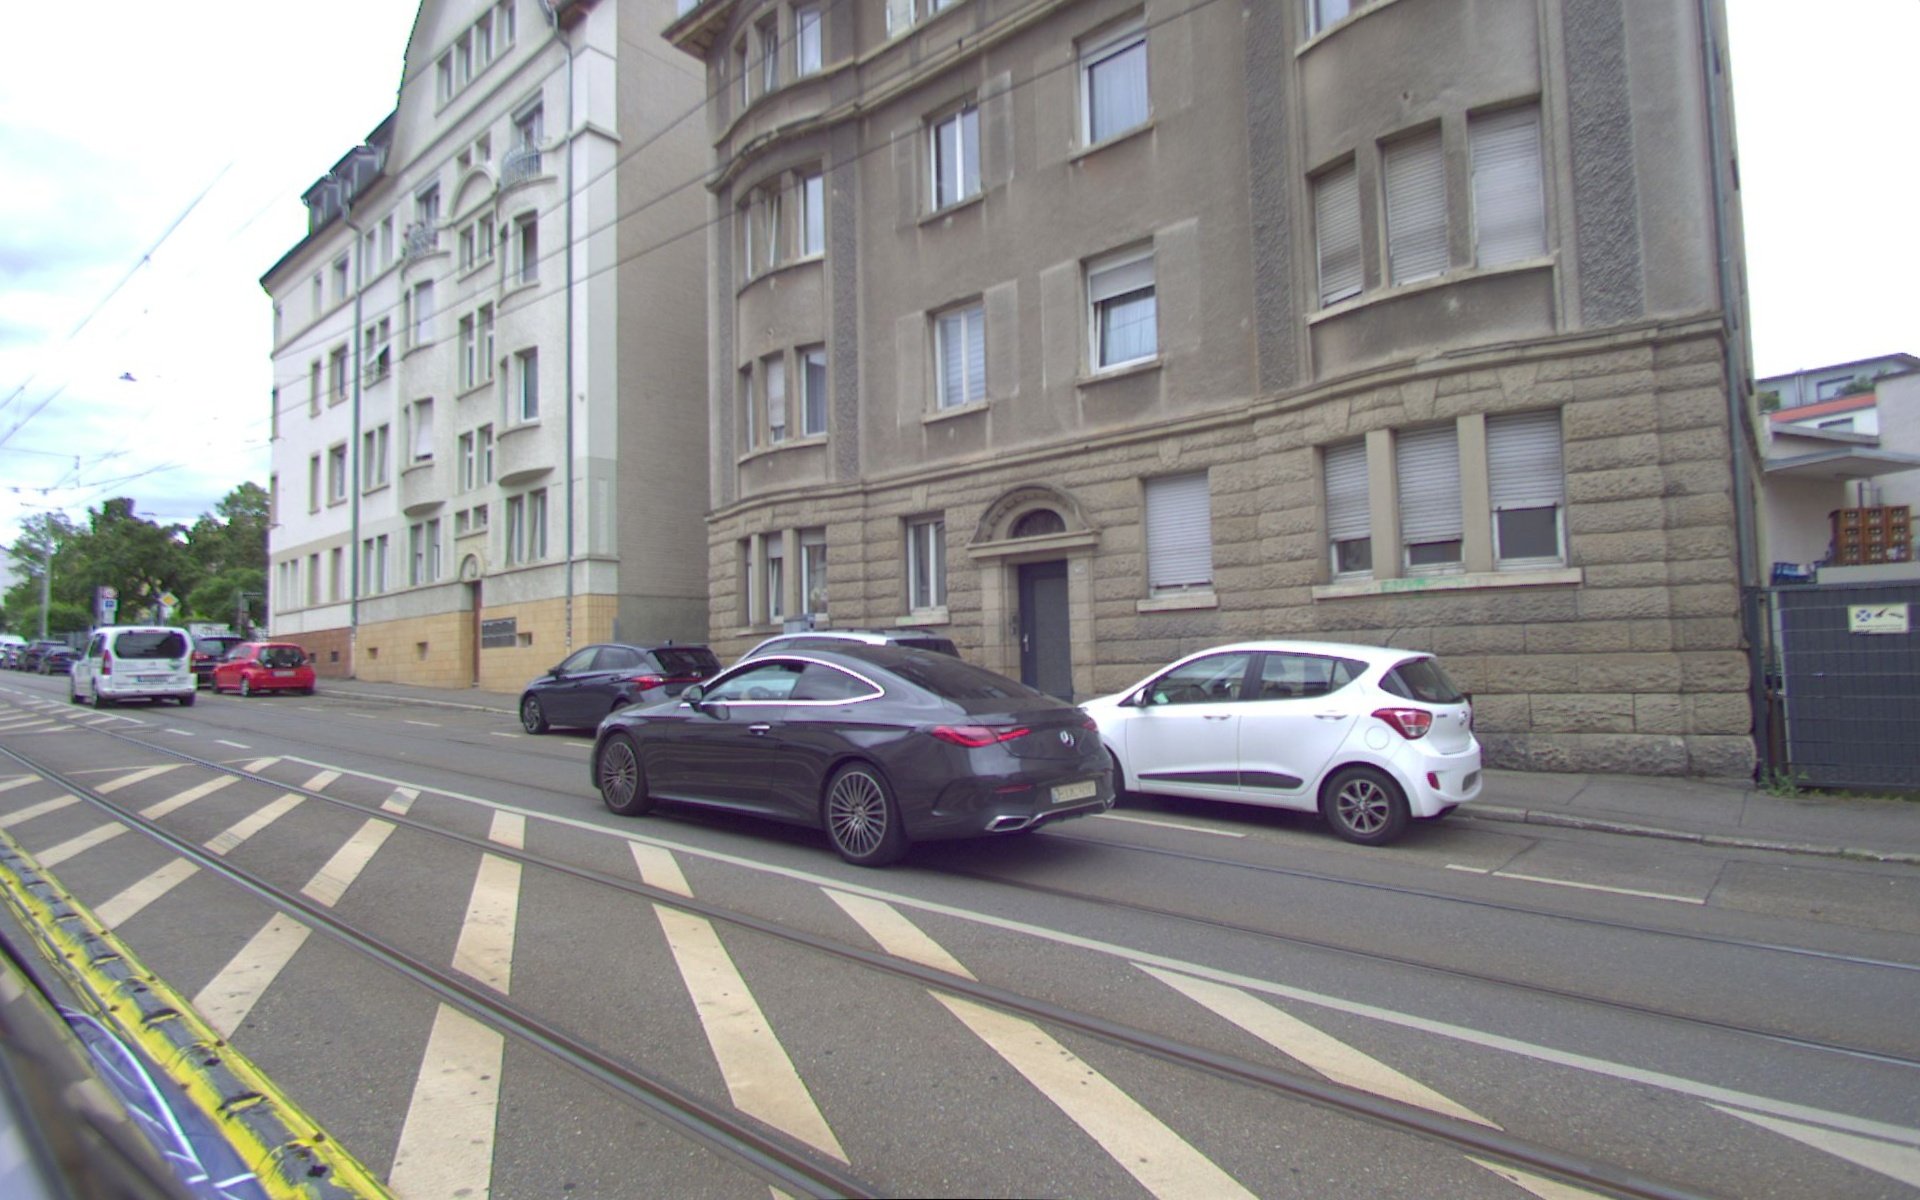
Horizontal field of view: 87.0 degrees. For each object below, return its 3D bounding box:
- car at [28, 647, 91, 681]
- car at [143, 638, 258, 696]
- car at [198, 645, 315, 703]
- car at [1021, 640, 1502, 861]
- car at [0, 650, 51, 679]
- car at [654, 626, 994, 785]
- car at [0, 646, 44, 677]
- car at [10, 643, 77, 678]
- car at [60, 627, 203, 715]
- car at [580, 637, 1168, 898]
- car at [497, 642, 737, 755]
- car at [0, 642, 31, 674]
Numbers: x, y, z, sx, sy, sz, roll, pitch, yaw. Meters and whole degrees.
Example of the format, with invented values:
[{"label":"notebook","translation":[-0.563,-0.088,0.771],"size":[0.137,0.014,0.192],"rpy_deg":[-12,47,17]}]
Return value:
[{"label":"car","translation":[-42.792,3.024,48.056],"size":[4.152,1.489,1.604],"rpy_deg":[-1,-3,40]},{"label":"car","translation":[-23.602,2.031,31.412],"size":[4.398,1.658,1.848],"rpy_deg":[-1,-3,40]},{"label":"car","translation":[-19.685,2.025,28.271],"size":[3.740,1.474,1.605],"rpy_deg":[-1,-3,38]},{"label":"car","translation":[2.476,1.114,8.792],"size":[3.683,1.474,1.603],"rpy_deg":[-1,-3,41]},{"label":"car","translation":[-52.407,3.603,56.633],"size":[3.866,1.520,1.721],"rpy_deg":[-1,-3,40]},{"label":"car","translation":[-1.786,1.182,12.387],"size":[4.347,1.616,1.604],"rpy_deg":[-2,-4,40]},{"label":"car","translation":[-56.542,3.658,60.480],"size":[4.629,1.699,1.949],"rpy_deg":[-1,-3,40]},{"label":"car","translation":[-47.818,3.123,52.785],"size":[4.440,1.699,1.949],"rpy_deg":[-1,-3,40]},{"label":"car","translation":[-19.028,1.562,23.193],"size":[4.216,1.833,1.900],"rpy_deg":[-2,-3,42]},{"label":"car","translation":[-0.872,1.009,7.783],"size":[4.495,1.435,1.901],"rpy_deg":[-2,-3,41]},{"label":"car","translation":[-5.340,1.409,15.537],"size":[4.029,1.474,1.604],"rpy_deg":[-1,-3,40]},{"label":"car","translation":[-60.783,3.630,64.257],"size":[4.731,1.927,1.949],"rpy_deg":[-1,-3,40]}]
